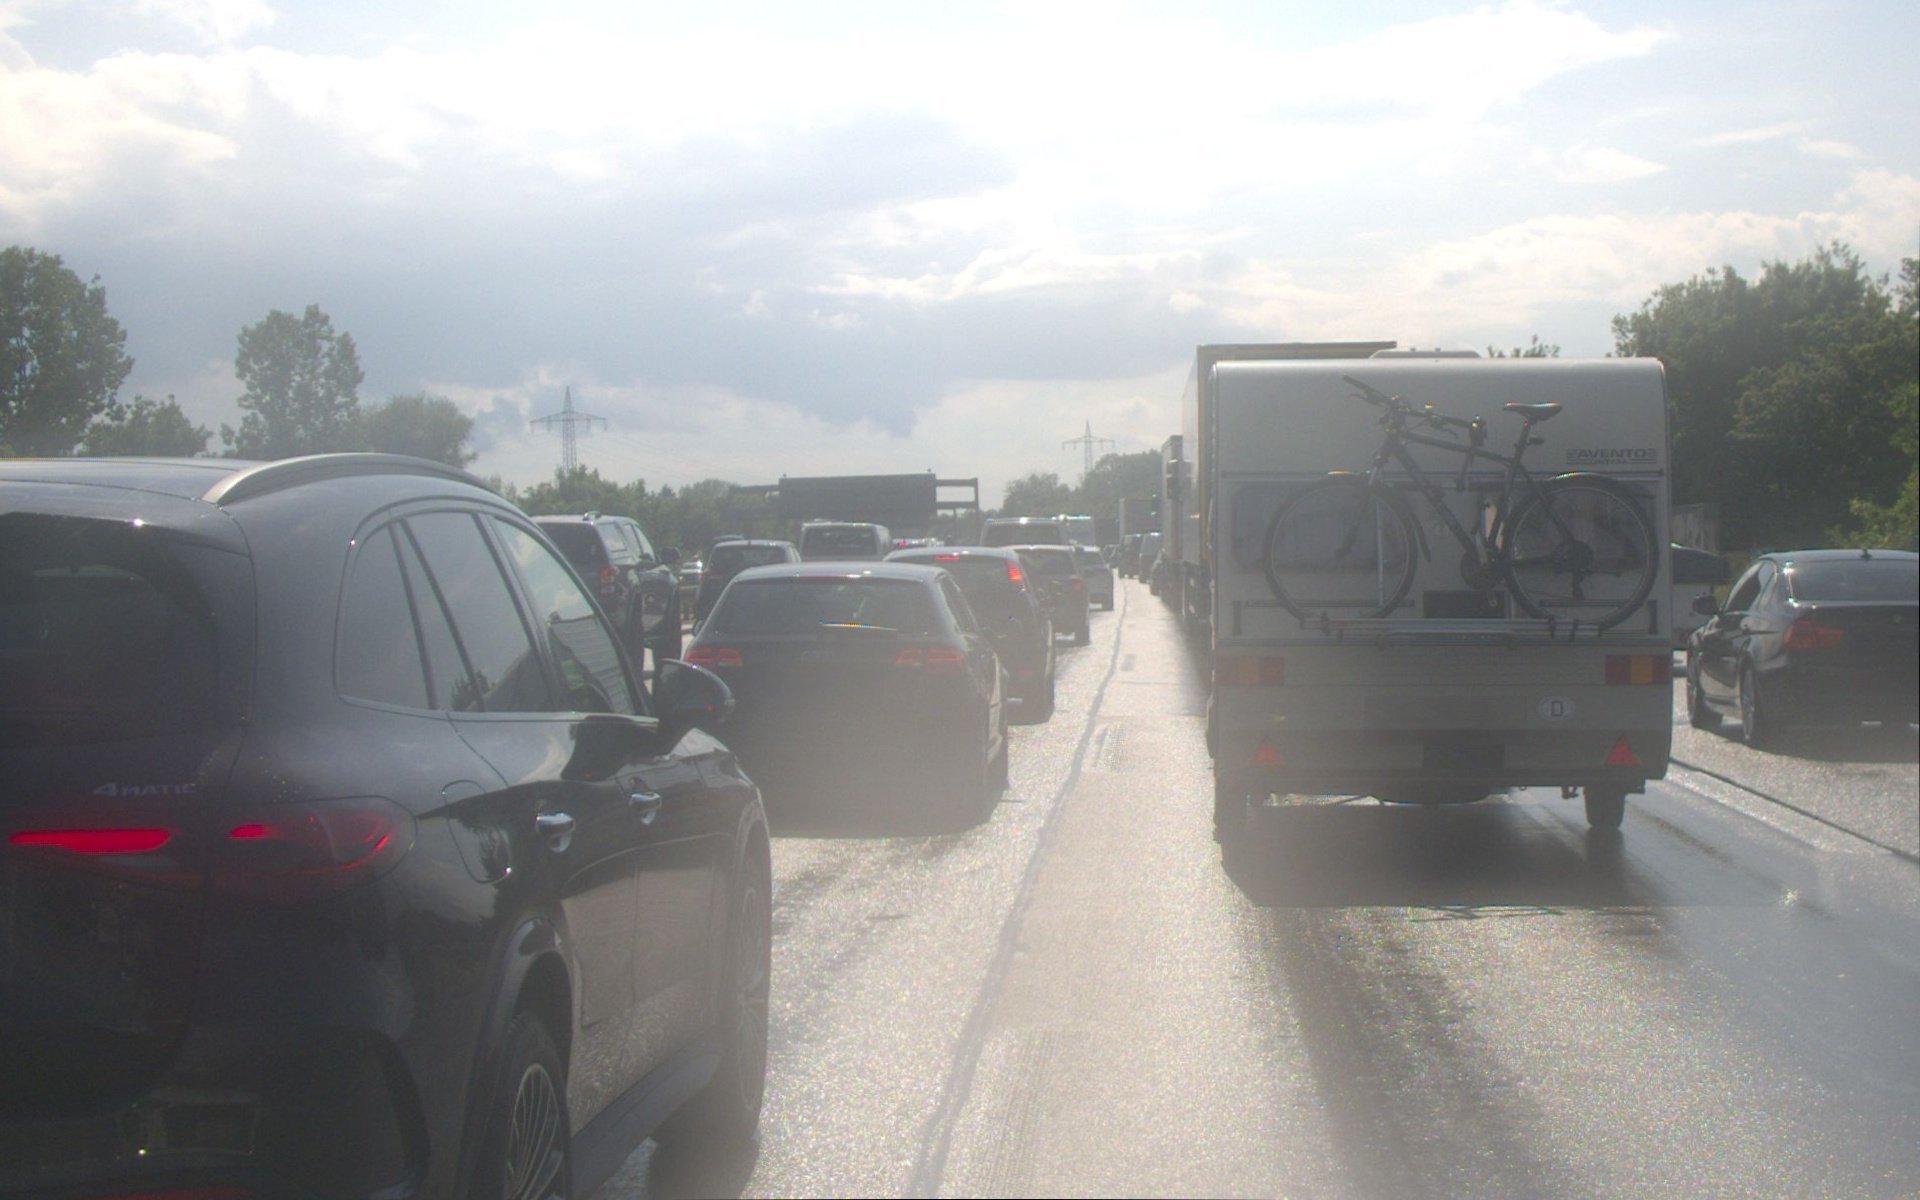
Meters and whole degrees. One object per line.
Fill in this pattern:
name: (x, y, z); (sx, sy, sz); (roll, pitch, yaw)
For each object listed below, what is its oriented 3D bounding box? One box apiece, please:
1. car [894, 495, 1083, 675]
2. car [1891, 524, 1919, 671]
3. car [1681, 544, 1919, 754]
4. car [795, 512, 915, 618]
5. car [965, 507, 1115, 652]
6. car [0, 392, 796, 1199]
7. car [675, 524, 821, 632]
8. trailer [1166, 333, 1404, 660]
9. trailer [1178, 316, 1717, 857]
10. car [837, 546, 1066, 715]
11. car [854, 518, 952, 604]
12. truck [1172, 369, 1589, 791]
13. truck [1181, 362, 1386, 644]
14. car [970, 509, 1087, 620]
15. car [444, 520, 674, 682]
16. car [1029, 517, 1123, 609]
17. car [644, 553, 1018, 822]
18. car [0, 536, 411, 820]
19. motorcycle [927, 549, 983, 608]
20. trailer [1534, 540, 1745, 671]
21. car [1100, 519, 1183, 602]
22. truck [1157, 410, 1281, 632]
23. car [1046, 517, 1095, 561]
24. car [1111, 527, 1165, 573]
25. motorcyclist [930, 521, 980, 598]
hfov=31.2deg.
car: (0.386, -0.205, 40.625); (1.994, 2.007, 4.000); (0, 1, 4)
car: (11.331, -0.021, 36.778); (1.788, 1.607, 4.385); (0, 1, 4)
car: (6.539, 0.309, 25.528); (1.740, 1.415, 3.835); (0, 1, 3)
car: (-2.132, -0.740, 70.841); (1.994, 2.007, 4.000); (3, 1, 4)
car: (1.255, -0.331, 52.170); (1.994, 2.007, 4.000); (3, 1, 4)
car: (-1.578, 0.529, 6.781); (1.994, 1.656, 4.405); (0, 1, 4)
car: (-3.572, -0.395, 58.617); (1.994, 1.766, 4.000); (0, 1, 4)
trailer: (4.514, -1.381, 47.939); (3.007, 4.152, 8.534); (0, 1, 5)
trailer: (2.441, -0.110, 19.071); (2.374, 2.475, 6.522); (0, 1, 3)
car: (-0.013, 0.224, 30.804); (1.806, 1.402, 4.000); (0, 1, 3)
car: (-1.341, -0.949, 82.580); (1.994, 2.007, 4.000); (-1, 1, 4)
truck: (2.646, -0.161, 23.101); (2.374, 2.468, 5.756); (0, 1, 3)
truck: (5.004, -1.475, 53.325); (2.996, 4.152, 5.239); (0, 1, 5)
car: (1.326, -0.690, 65.347); (1.994, 2.007, 4.000); (1, 1, 4)
car: (-4.419, -0.019, 38.463); (1.993, 1.714, 4.000); (0, 1, 2)
car: (2.662, -0.849, 78.007); (1.994, 2.007, 4.000); (1, 1, 4)
car: (-0.650, 0.438, 20.113); (1.757, 1.382, 3.944); (0, 1, 4)
car: (-4.638, 0.381, 20.529); (1.757, 1.511, 4.208); (0, 1, 4)
motorcycle: (-0.104, -0.493, 76.696); (1.074, 1.267, 2.690); (0, 1, 4)
trailer: (7.938, 0.025, 40.462); (1.855, 1.437, 4.147); (0, 1, 3)
car: (4.630, -1.017, 87.328); (1.994, 2.007, 4.000); (1, 1, 4)
truck: (5.841, -1.762, 78.457); (2.502, 4.813, 7.543); (0, 1, 2)
car: (4.460, -2.454, 139.056); (1.876, 1.754, 4.000); (0, 1, 0)
car: (6.911, -1.941, 133.768); (1.876, 1.754, 4.000); (0, 1, 0)
motorcyclist: (-0.101, -0.897, 76.775); (1.064, 1.712, 0.785); (0, 1, 4)
